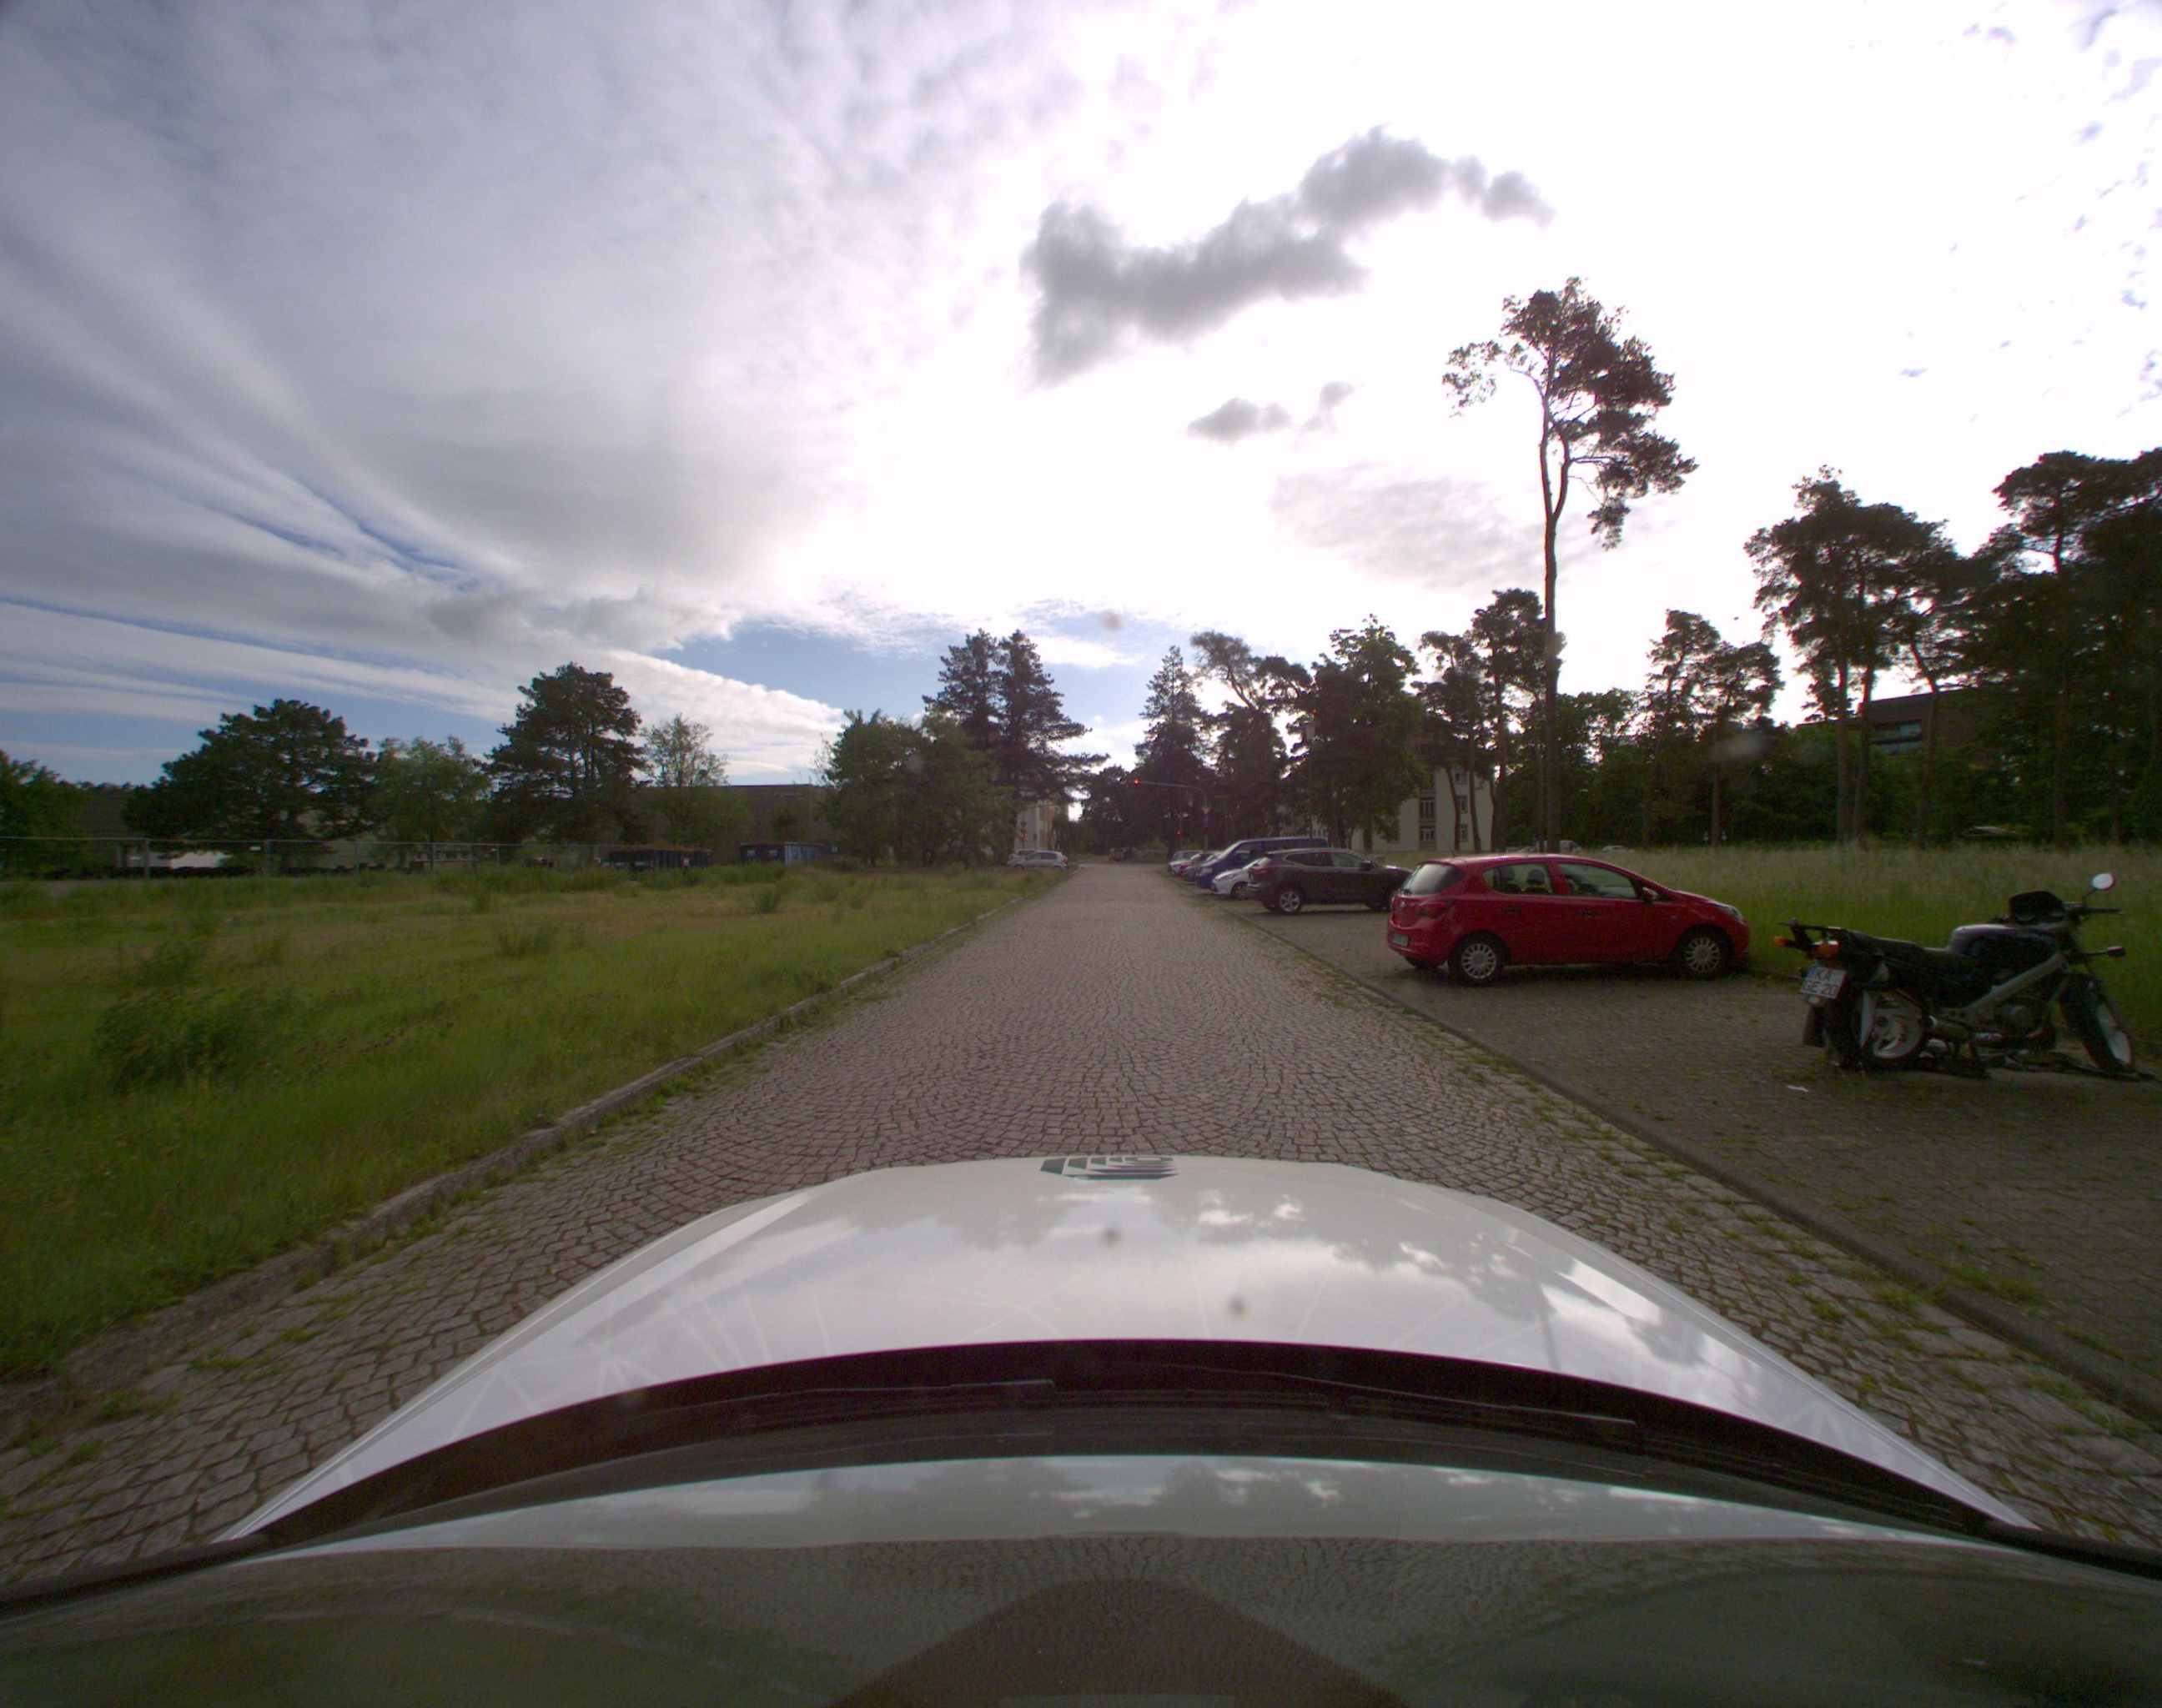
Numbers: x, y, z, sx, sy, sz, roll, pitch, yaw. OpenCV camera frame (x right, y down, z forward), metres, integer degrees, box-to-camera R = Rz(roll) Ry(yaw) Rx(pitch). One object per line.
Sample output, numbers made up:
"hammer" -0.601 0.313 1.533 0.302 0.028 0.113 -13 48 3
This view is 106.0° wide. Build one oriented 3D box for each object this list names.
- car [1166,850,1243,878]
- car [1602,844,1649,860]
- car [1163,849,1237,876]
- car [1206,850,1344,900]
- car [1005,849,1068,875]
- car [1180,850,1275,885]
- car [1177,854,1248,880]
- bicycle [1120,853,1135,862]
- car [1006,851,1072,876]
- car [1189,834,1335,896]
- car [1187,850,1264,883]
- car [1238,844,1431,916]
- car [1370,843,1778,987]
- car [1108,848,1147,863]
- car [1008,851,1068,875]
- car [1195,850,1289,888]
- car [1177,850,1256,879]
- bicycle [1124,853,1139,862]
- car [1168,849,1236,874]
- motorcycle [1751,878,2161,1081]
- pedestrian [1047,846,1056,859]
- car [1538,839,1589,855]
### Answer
"car" 7.184 0.563 47.575 4.178 1.437 1.752 -2 0 -5
"car" 62.461 -0.212 93.528 4.114 1.804 1.902 1 0 4
"car" 7.324 0.508 50.341 4.227 1.479 1.705 -2 0 -9
"car" 6.277 0.663 26.626 4.085 1.478 1.721 -2 0 -1
"car" -3.143 0.546 57.706 4.288 1.732 1.651 -2 0 -3
"car" 6.667 0.606 37.383 4.114 1.447 1.767 -2 0 2
"car" 6.888 0.676 42.875 3.571 1.223 1.630 -2 0 3
"bicycle" 6.203 0.432 108.607 1.877 1.171 0.664 1 0 -4
"car" -2.833 0.625 54.888 4.289 1.554 1.810 -2 0 -4
"car" 6.407 0.361 29.169 4.779 2.004 1.966 -2 0 0
"car" 7.095 0.597 40.240 3.492 1.487 1.744 -2 0 2
"car" 6.200 0.612 20.265 4.190 1.595 1.953 -2 0 0
"car" 5.804 0.673 9.961 3.910 1.496 1.785 -2 0 0
"car" 6.771 0.205 119.909 5.376 2.101 2.171 -1 0 -10
"car" -2.717 0.564 52.285 3.709 1.481 1.673 1 0 -1
"car" 6.776 0.622 34.472 3.639 1.478 1.766 -2 0 2
"car" 7.489 0.550 45.201 4.091 1.476 1.685 -2 0 0
"bicycle" 6.553 0.437 105.095 1.877 1.171 0.664 1 0 -4
"car" 7.839 0.474 52.881 4.126 1.463 1.632 -2 0 -3
"motorcycle" 5.849 0.807 5.460 2.223 1.202 0.568 -2 0 0
"pedestrian" -4.275 -0.202 117.962 1.070 1.959 1.122 1 0 2
"car" 61.769 -0.917 104.295 5.278 2.019 2.107 1 0 3
